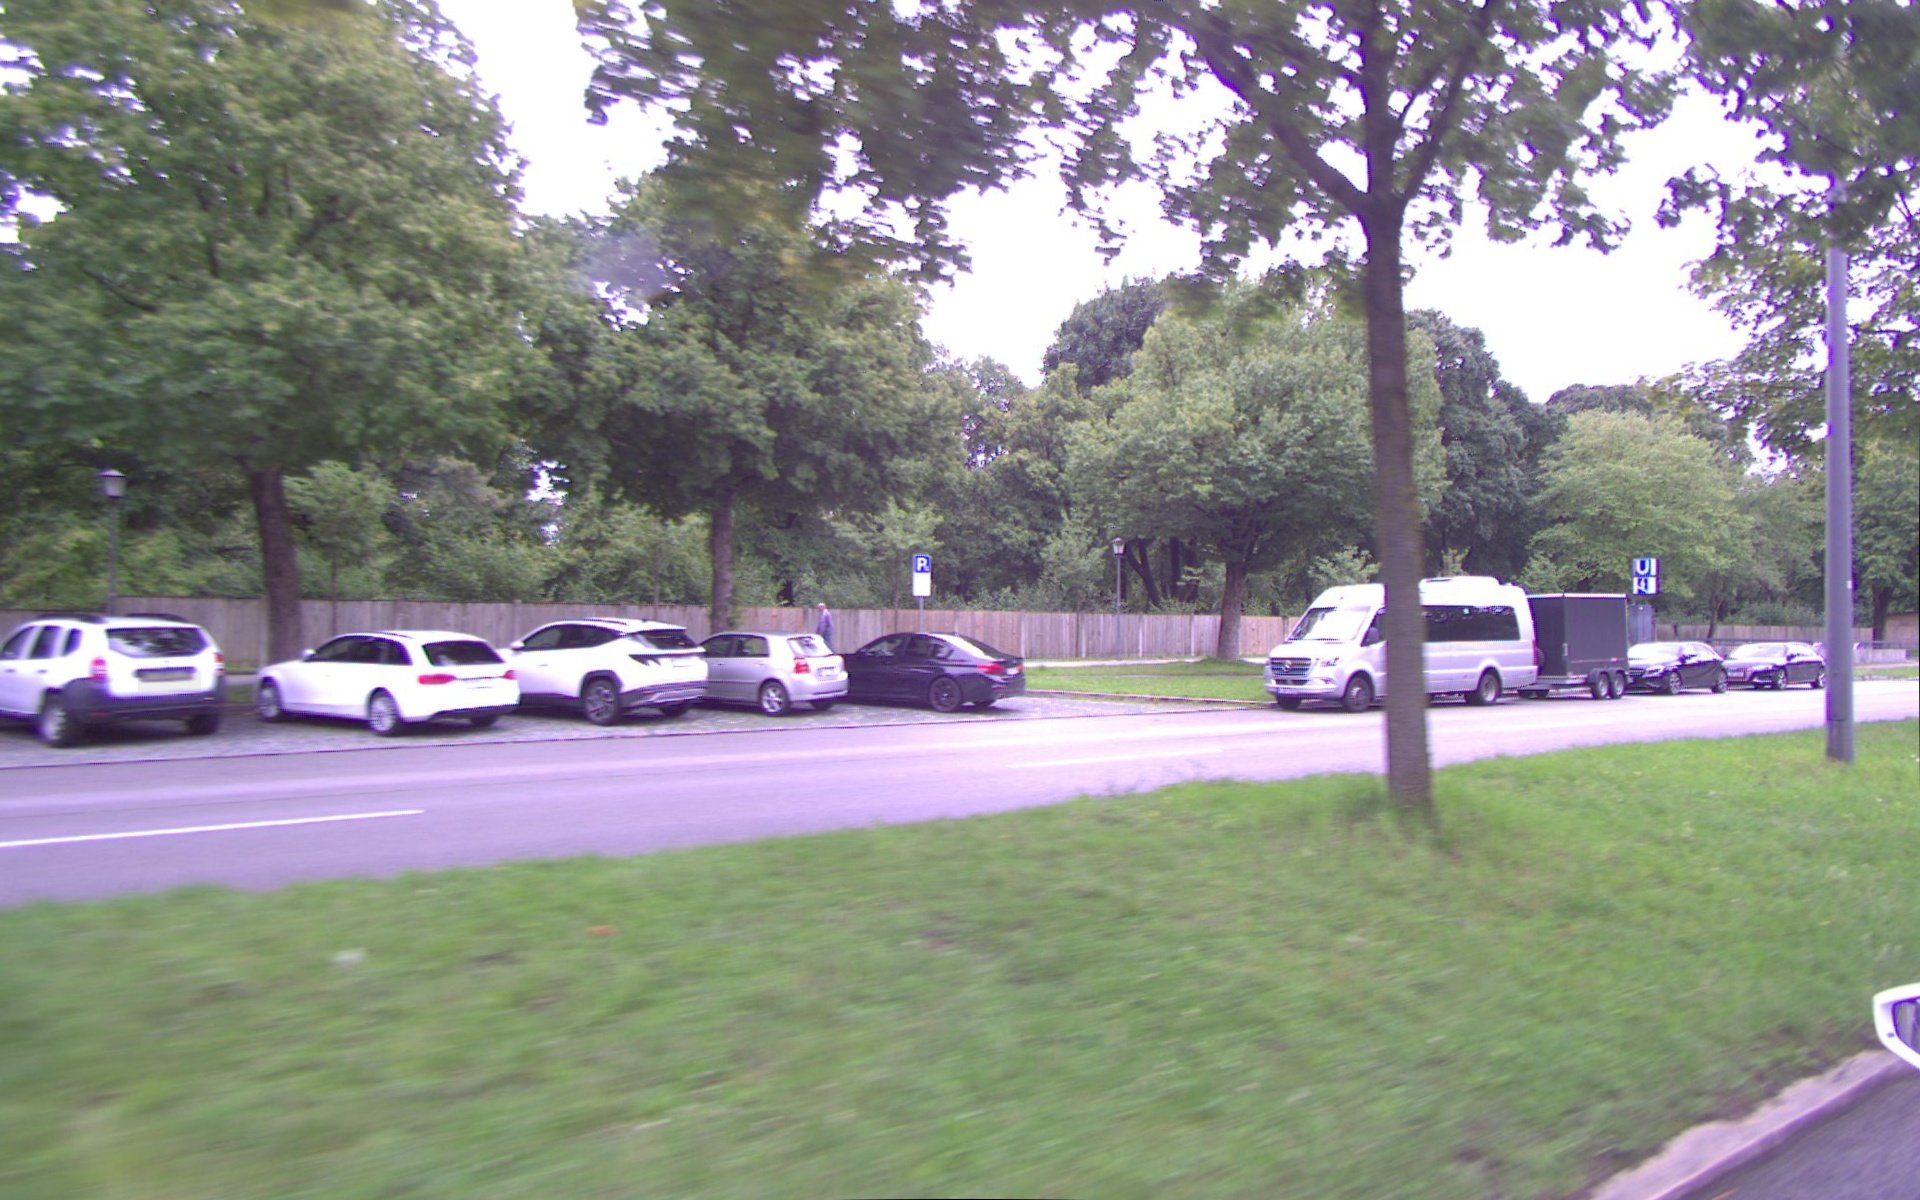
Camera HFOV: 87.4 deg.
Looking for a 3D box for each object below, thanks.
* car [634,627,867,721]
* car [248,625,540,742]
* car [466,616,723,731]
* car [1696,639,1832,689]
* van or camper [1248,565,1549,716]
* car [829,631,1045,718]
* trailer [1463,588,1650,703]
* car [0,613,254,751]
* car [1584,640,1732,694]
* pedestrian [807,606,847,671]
[{"bbox_3d":[-3.901,1.301,18.718,3.923,1.485,1.800,1,-1,24],"label":"car"},{"bbox_3d":[-8.686,1.175,15.382,4.243,1.457,1.800,1,-1,26],"label":"car"},{"bbox_3d":[-6.179,1.156,16.994,3.924,1.644,1.800,1,-1,24],"label":"car"},{"bbox_3d":[24.753,1.935,30.905,4.379,1.444,1.792,1,-3,-30],"label":"car"},{"bbox_3d":[9.736,0.886,21.994,7.458,2.875,2.026,1,-3,-30],"label":"van or camper"},{"bbox_3d":[-0.489,1.399,20.005,3.929,1.453,1.798,1,-1,31],"label":"car"},{"bbox_3d":[14.891,1.130,25.027,4.604,2.624,2.008,1,-3,-30],"label":"trailer"},{"bbox_3d":[-12.030,1.024,13.952,4.243,1.594,1.800,1,-1,26],"label":"car"},{"bbox_3d":[19.460,1.832,27.966,4.188,1.402,1.792,1,-3,-30],"label":"car"},{"bbox_3d":[-3.755,1.084,28.421,0.865,1.790,0.763,2,-2,-34],"label":"pedestrian"}]
